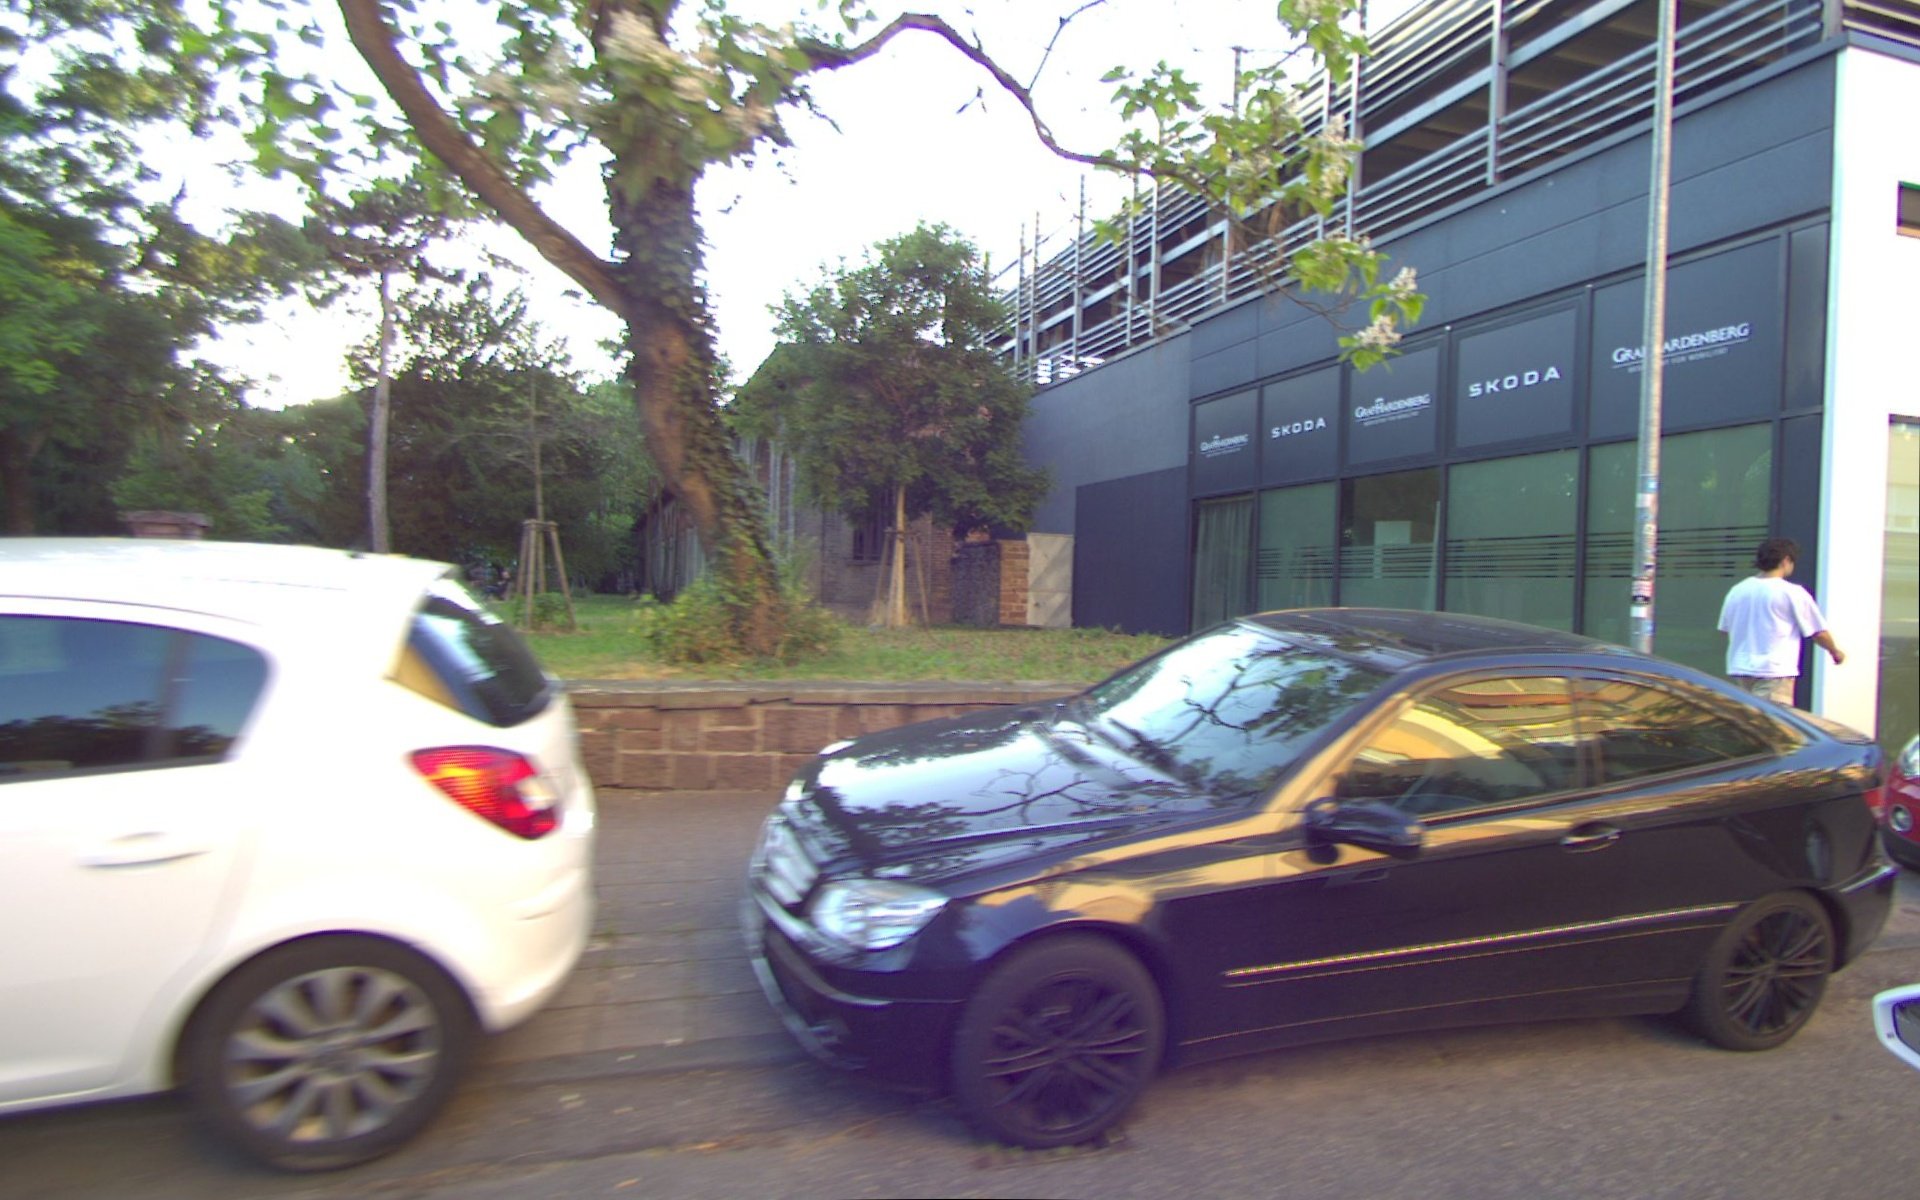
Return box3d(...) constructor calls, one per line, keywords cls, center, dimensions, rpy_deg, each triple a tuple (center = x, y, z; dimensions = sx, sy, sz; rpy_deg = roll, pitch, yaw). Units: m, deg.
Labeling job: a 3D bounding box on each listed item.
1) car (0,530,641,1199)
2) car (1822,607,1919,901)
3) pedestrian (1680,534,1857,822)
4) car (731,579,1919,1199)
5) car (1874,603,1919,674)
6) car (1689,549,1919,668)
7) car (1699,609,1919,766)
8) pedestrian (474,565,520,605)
box3d(cls="car", center=(-2.925, 0.583, 2.727), dimensions=(3.827, 1.535, 1.658), rpy_deg=(1, 4, -22))
box3d(cls="car", center=(6.775, 0.861, 5.219), dimensions=(3.866, 1.430, 1.659), rpy_deg=(1, 5, -19))
box3d(cls="pedestrian", center=(5.661, 0.519, 7.061), dimensions=(0.610, 1.903, 0.721), rpy_deg=(1, 1, -14))
box3d(cls="car", center=(1.399, 0.759, 3.877), dimensions=(4.342, 1.435, 1.660), rpy_deg=(1, 6, -17))
box3d(cls="car", center=(21.594, 0.843, 21.138), dimensions=(3.855, 1.453, 1.697), rpy_deg=(1, 0, -16))
box3d(cls="car", center=(13.502, 0.150, 15.539), dimensions=(3.676, 1.681, 1.697), rpy_deg=(1, 0, -16))
box3d(cls="car", center=(11.137, 0.986, 12.108), dimensions=(3.813, 1.672, 1.593), rpy_deg=(1, 0, -16))
box3d(cls="pedestrian", center=(-16.971, -0.545, 36.858), dimensions=(1.258, 1.445, 1.235), rpy_deg=(1, 1, -9))
